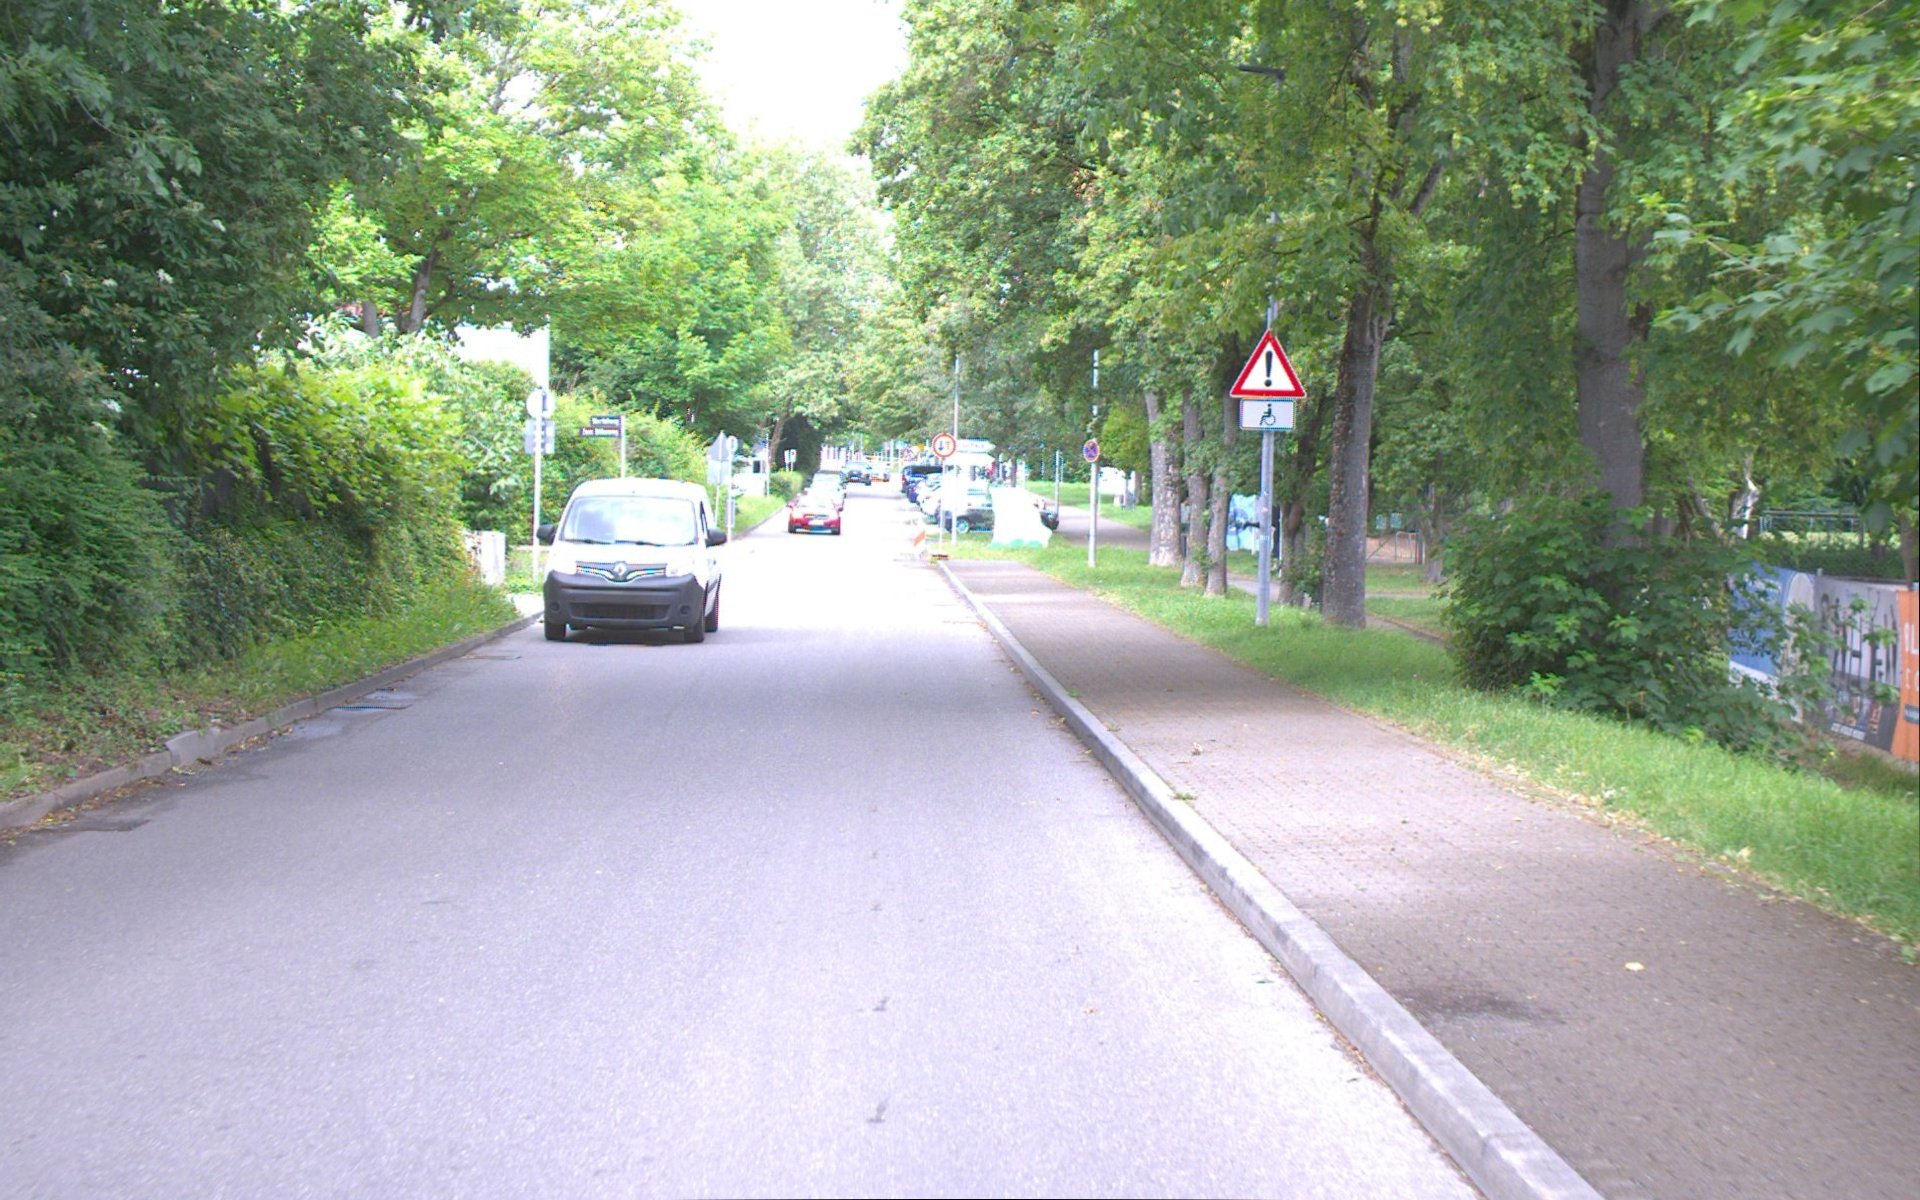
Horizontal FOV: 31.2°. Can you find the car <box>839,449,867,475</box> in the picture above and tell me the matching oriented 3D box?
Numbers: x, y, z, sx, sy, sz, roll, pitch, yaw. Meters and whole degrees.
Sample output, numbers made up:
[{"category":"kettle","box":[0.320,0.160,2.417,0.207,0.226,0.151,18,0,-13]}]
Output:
[{"category":"car","box":[-7.690,-9.916,246.822,1.968,1.741,4.339,2,2,-2]}]

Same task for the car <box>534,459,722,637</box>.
[{"category":"car","box":[-3.710,-0.593,39.063,1.873,1.907,4.432,0,1,-2]}]

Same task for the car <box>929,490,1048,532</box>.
[{"category":"car","box":[0.969,-3.075,118.959,4.062,1.429,2.000,0,1,-2]}]

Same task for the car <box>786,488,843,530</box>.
[{"category":"car","box":[-4.952,-3.097,116.540,1.750,1.331,4.066,2,2,-5]}]
